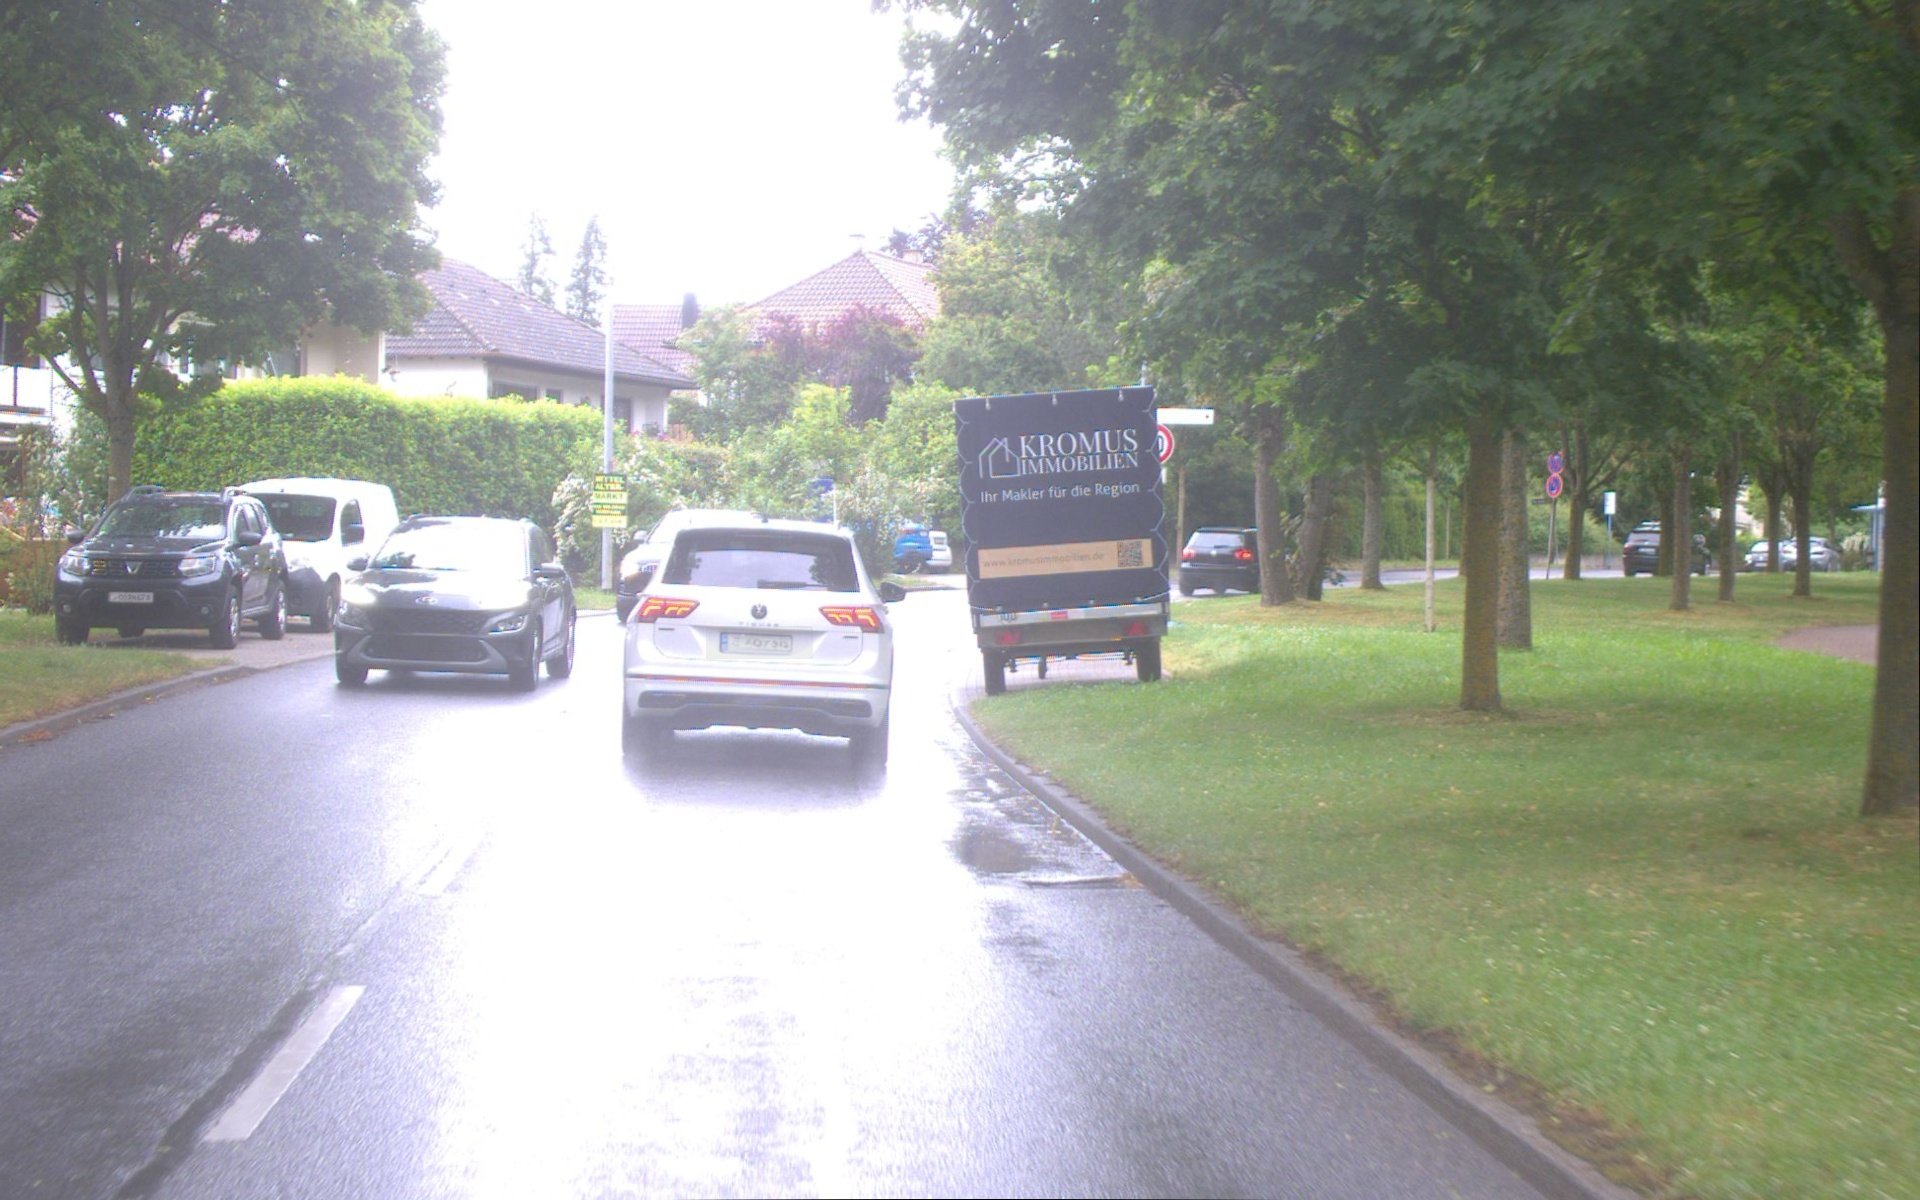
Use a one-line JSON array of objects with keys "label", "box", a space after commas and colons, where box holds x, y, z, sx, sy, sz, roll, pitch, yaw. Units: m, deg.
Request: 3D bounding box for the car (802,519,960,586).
[{"label": "car", "box": [-1.924, -1.170, 84.022, 3.406, 1.514, 1.729, 2, 1, 20]}]

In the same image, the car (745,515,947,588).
[{"label": "car", "box": [-2.682, -1.147, 80.858, 4.242, 1.534, 2.050, 2, 1, 20]}]

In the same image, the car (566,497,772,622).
[{"label": "car", "box": [-4.219, -0.616, 50.510, 1.852, 1.686, 4.403, 2, 1, 11]}]

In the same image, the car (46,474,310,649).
[{"label": "car", "box": [-8.244, -0.401, 36.625, 1.750, 1.635, 4.592, 4, 0, -1]}]

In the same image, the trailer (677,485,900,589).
[{"label": "trailer", "box": [-3.880, -1.430, 77.697, 4.625, 2.164, 1.813, 2, 1, 20]}]

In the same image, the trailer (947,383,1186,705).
[{"label": "trailer", "box": [0.987, -0.559, 34.038, 1.993, 2.799, 5.608, -4, 1, 0]}]

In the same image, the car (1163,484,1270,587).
[{"label": "car", "box": [5.489, -1.338, 73.097, 1.902, 2.007, 3.943, 4, 0, 8]}]

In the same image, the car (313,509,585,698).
[{"label": "car", "box": [-4.727, -0.025, 32.347, 1.789, 1.532, 4.092, 4, 2, 1]}]

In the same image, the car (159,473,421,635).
[{"label": "car", "box": [-8.085, -0.555, 41.871, 1.799, 1.789, 4.371, 3, 1, 7]}]

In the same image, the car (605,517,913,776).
[{"label": "car", "box": [-1.446, 0.272, 24.491, 1.974, 1.647, 4.178, 1, 1, -4]}]

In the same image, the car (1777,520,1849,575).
[{"label": "car", "box": [31.779, -1.947, 128.004, 1.996, 1.798, 3.995, 4, 0, 21]}]
